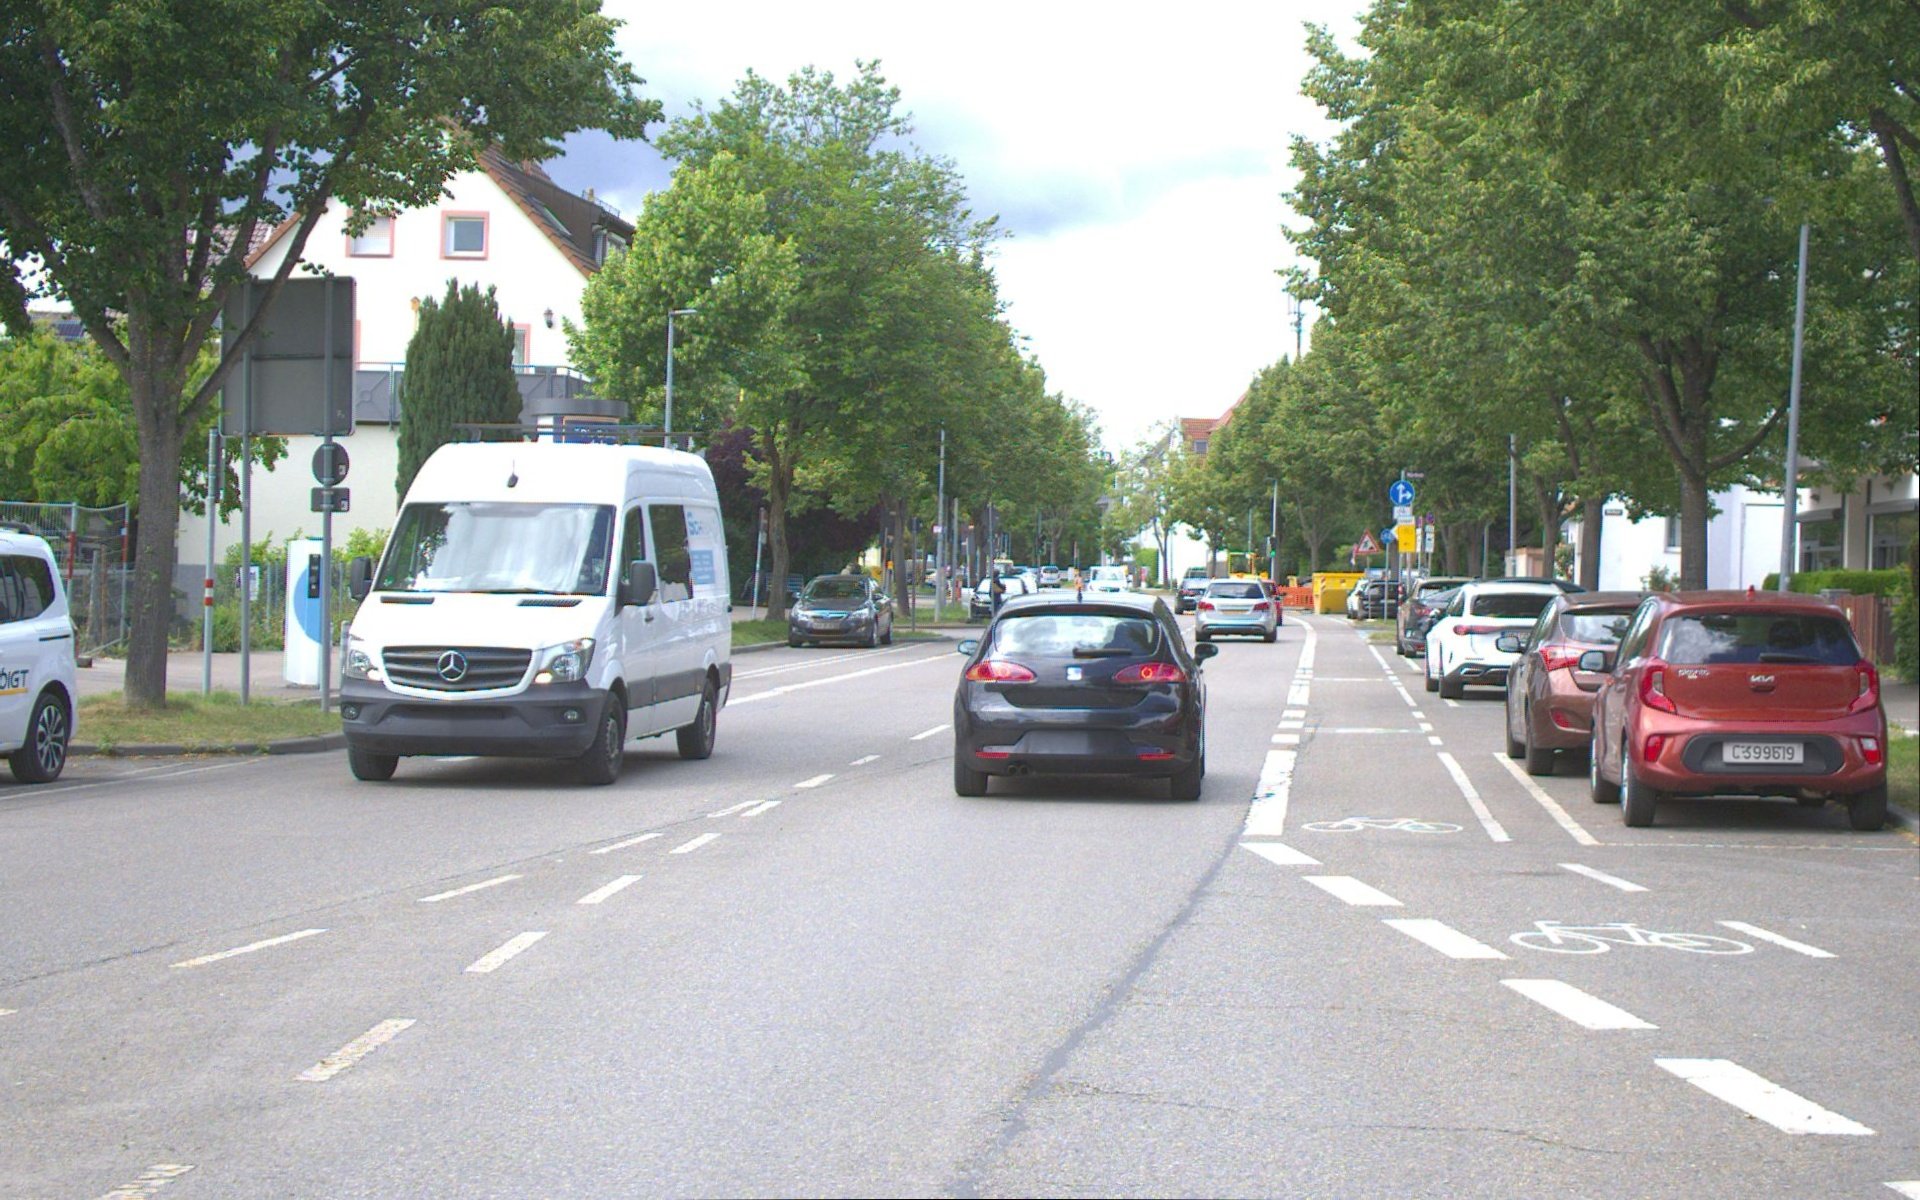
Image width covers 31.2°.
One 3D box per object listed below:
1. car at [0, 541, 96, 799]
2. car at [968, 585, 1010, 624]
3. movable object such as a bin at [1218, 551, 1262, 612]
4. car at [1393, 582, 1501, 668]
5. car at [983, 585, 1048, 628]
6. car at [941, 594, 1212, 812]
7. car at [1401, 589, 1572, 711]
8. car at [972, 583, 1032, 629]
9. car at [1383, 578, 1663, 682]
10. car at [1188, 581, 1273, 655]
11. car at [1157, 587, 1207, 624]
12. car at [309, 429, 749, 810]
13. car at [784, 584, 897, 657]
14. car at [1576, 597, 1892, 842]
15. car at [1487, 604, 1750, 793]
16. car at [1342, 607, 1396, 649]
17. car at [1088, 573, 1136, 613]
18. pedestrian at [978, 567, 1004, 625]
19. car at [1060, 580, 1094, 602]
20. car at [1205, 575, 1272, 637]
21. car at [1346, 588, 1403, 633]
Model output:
[{"bbox_3d":[-7.532,0.466,23.084,1.771,1.764,4.550,1,0,8],"label":"car"},{"bbox_3d":[1.638,0.226,197.476,2.092,2.168,5.045,1,0,-3],"label":"car"},{"bbox_3d":[12.054,-0.811,148.228,1.768,2.565,3.739,1,0,3],"label":"movable object such as a bin"},{"bbox_3d":[9.414,0.462,66.693,1.722,1.575,4.060,1,0,3],"label":"car"},{"bbox_3d":[1.879,0.192,115.807,1.714,1.401,4.299,1,0,7],"label":"car"},{"bbox_3d":[0.891,0.690,25.028,1.819,1.433,3.739,0,0,3],"label":"car"},{"bbox_3d":[6.814,0.609,44.909,1.805,1.470,4.811,1,0,4],"label":"car"},{"bbox_3d":[1.361,0.170,109.185,1.643,1.415,4.019,0,0,4],"label":"car"},{"bbox_3d":[8.988,0.469,55.098,4.217,1.632,1.693,0,0,1],"label":"car"},{"bbox_3d":[6.308,0.402,80.484,1.906,1.680,3.739,0,0,3],"label":"car"},{"bbox_3d":[8.658,0.201,134.013,1.810,1.370,3.693,1,0,2],"label":"car"},{"bbox_3d":[-3.244,0.114,27.271,2.019,2.665,5.804,1,0,8],"label":"car"},{"bbox_3d":[-2.451,0.397,71.573,1.731,1.464,4.300,0,0,7],"label":"car"},{"bbox_3d":[5.028,0.742,22.730,1.565,1.450,3.667,1,0,6],"label":"car"},{"bbox_3d":[5.379,0.759,28.511,1.653,1.411,4.176,0,0,4],"label":"car"},{"bbox_3d":[14.884,1.016,125.261,1.672,1.457,4.000,1,0,3],"label":"car"},{"bbox_3d":[7.099,-0.325,160.621,1.966,1.824,4.818,1,0,5],"label":"car"},{"bbox_3d":[0.915,-0.119,101.227,0.543,1.675,0.750,3,2,14],"label":"pedestrian"},{"bbox_3d":[7.839,-0.601,230.253,1.809,1.410,3.694,1,0,-6],"label":"car"},{"bbox_3d":[8.748,0.174,108.083,1.907,1.875,4.000,1,0,2],"label":"car"},{"bbox_3d":[13.930,0.334,115.719,1.706,1.450,4.616,1,0,4],"label":"car"}]
